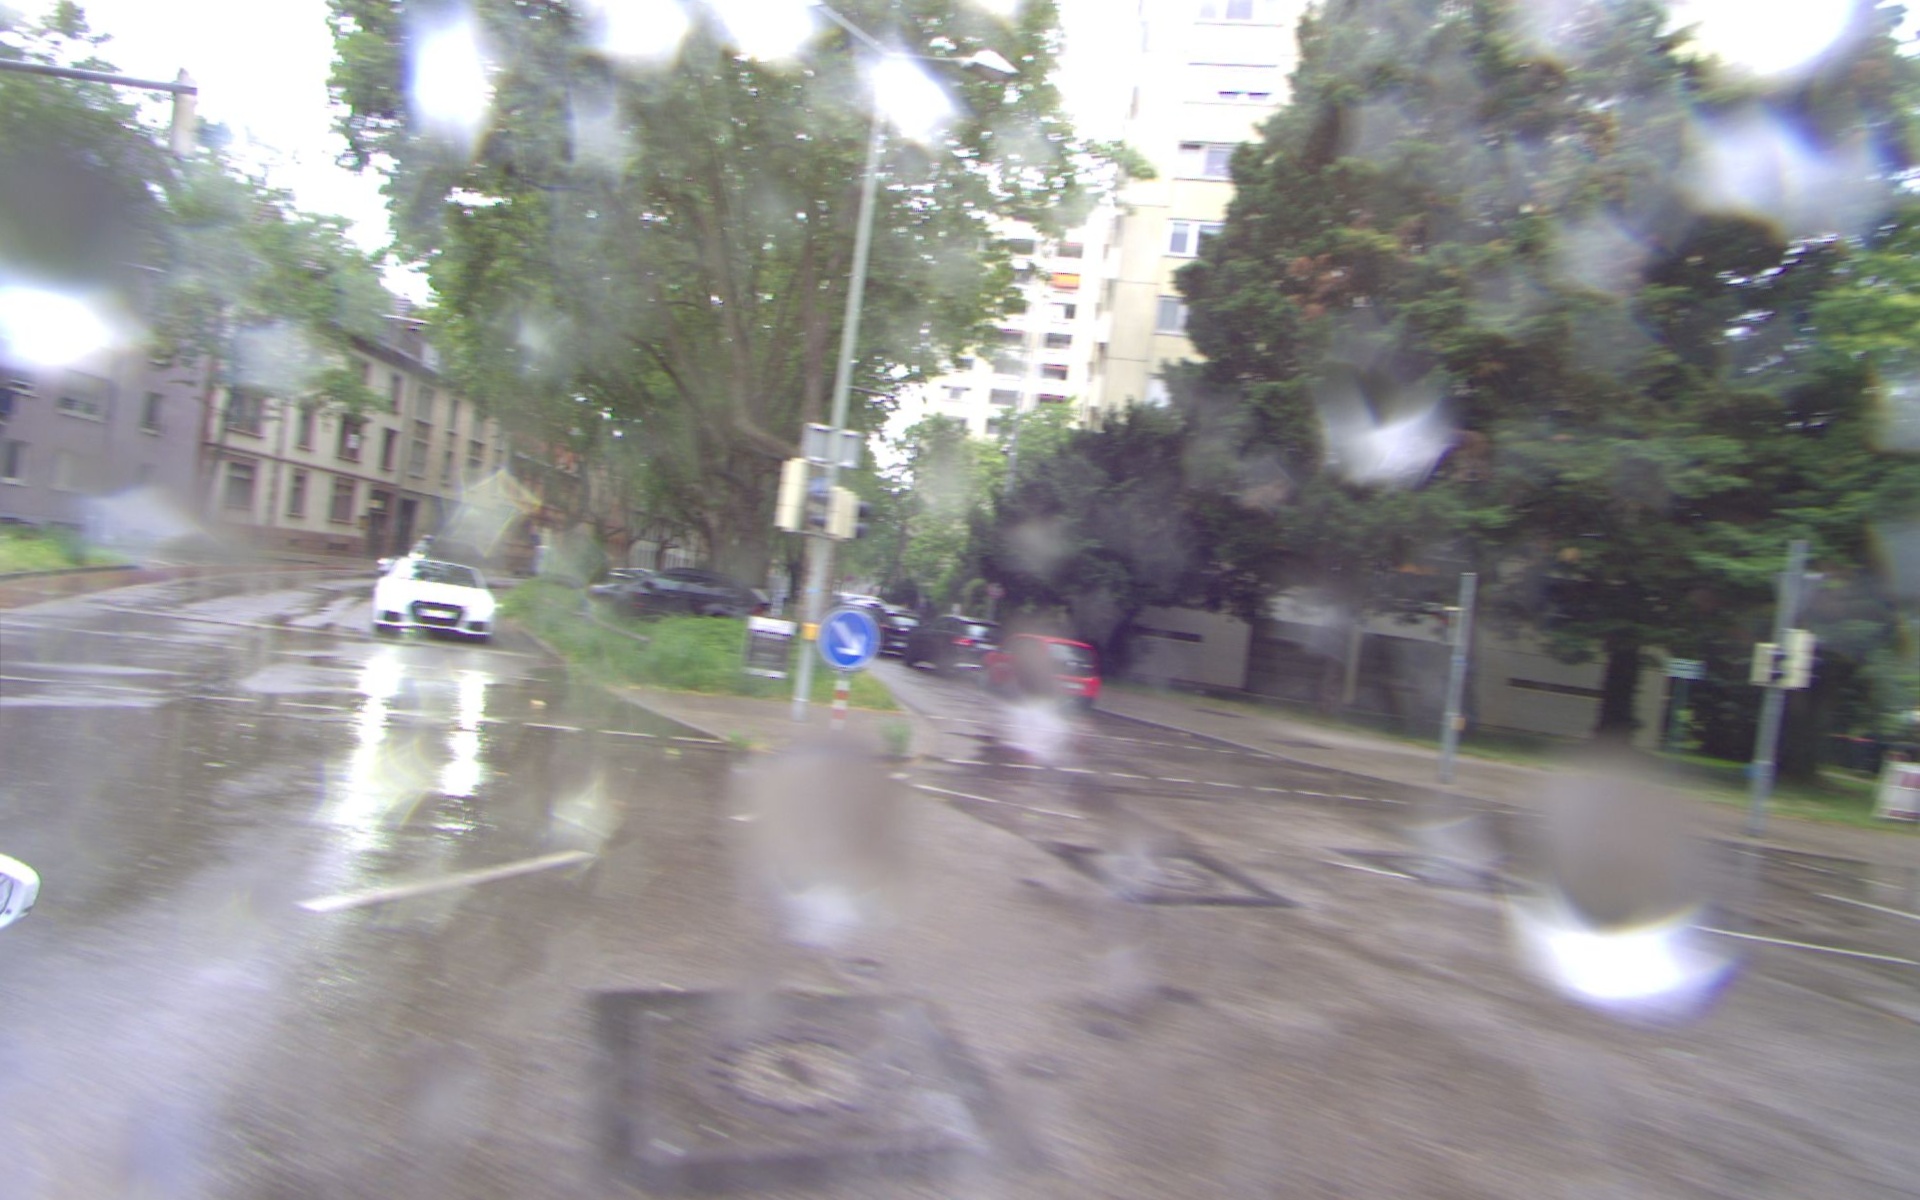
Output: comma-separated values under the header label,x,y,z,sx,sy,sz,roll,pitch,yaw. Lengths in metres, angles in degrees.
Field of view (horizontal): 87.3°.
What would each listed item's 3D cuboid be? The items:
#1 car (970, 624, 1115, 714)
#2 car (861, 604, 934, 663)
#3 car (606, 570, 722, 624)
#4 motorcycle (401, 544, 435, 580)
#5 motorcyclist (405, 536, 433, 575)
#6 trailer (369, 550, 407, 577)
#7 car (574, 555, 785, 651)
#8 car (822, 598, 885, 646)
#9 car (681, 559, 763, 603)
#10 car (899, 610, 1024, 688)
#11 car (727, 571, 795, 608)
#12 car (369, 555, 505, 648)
label,x,y,z,sx,sy,sz,roll,pitch,yaw
car,1.799,1.534,23.123,1.818,1.543,3.443,8,-1,-22
car,-2.137,1.068,33.542,1.811,1.615,3.479,8,-1,-11
car,-11.085,-0.132,37.871,3.777,1.439,1.883,8,0,-8
motorcycle,-20.534,-1.433,38.142,0.870,1.229,2.062,8,-1,-25
motorcyclist,-20.522,-1.687,38.182,0.749,1.367,0.750,7,0,-25
trailer,-21.435,-1.374,37.746,1.014,0.852,1.474,8,-1,-25
car,-6.900,0.092,25.002,4.516,1.684,1.876,8,0,4
car,-4.611,0.894,43.080,1.903,1.653,3.988,8,-1,-15
car,-17.123,-1.394,72.315,5.510,2.430,2.231,7,0,30
car,-0.060,1.274,27.794,1.913,1.627,4.436,8,-1,-20
car,-18.216,-0.968,91.906,5.867,2.681,1.998,7,0,28
car,-9.665,-0.041,18.538,1.883,1.290,4.141,8,-1,-29
